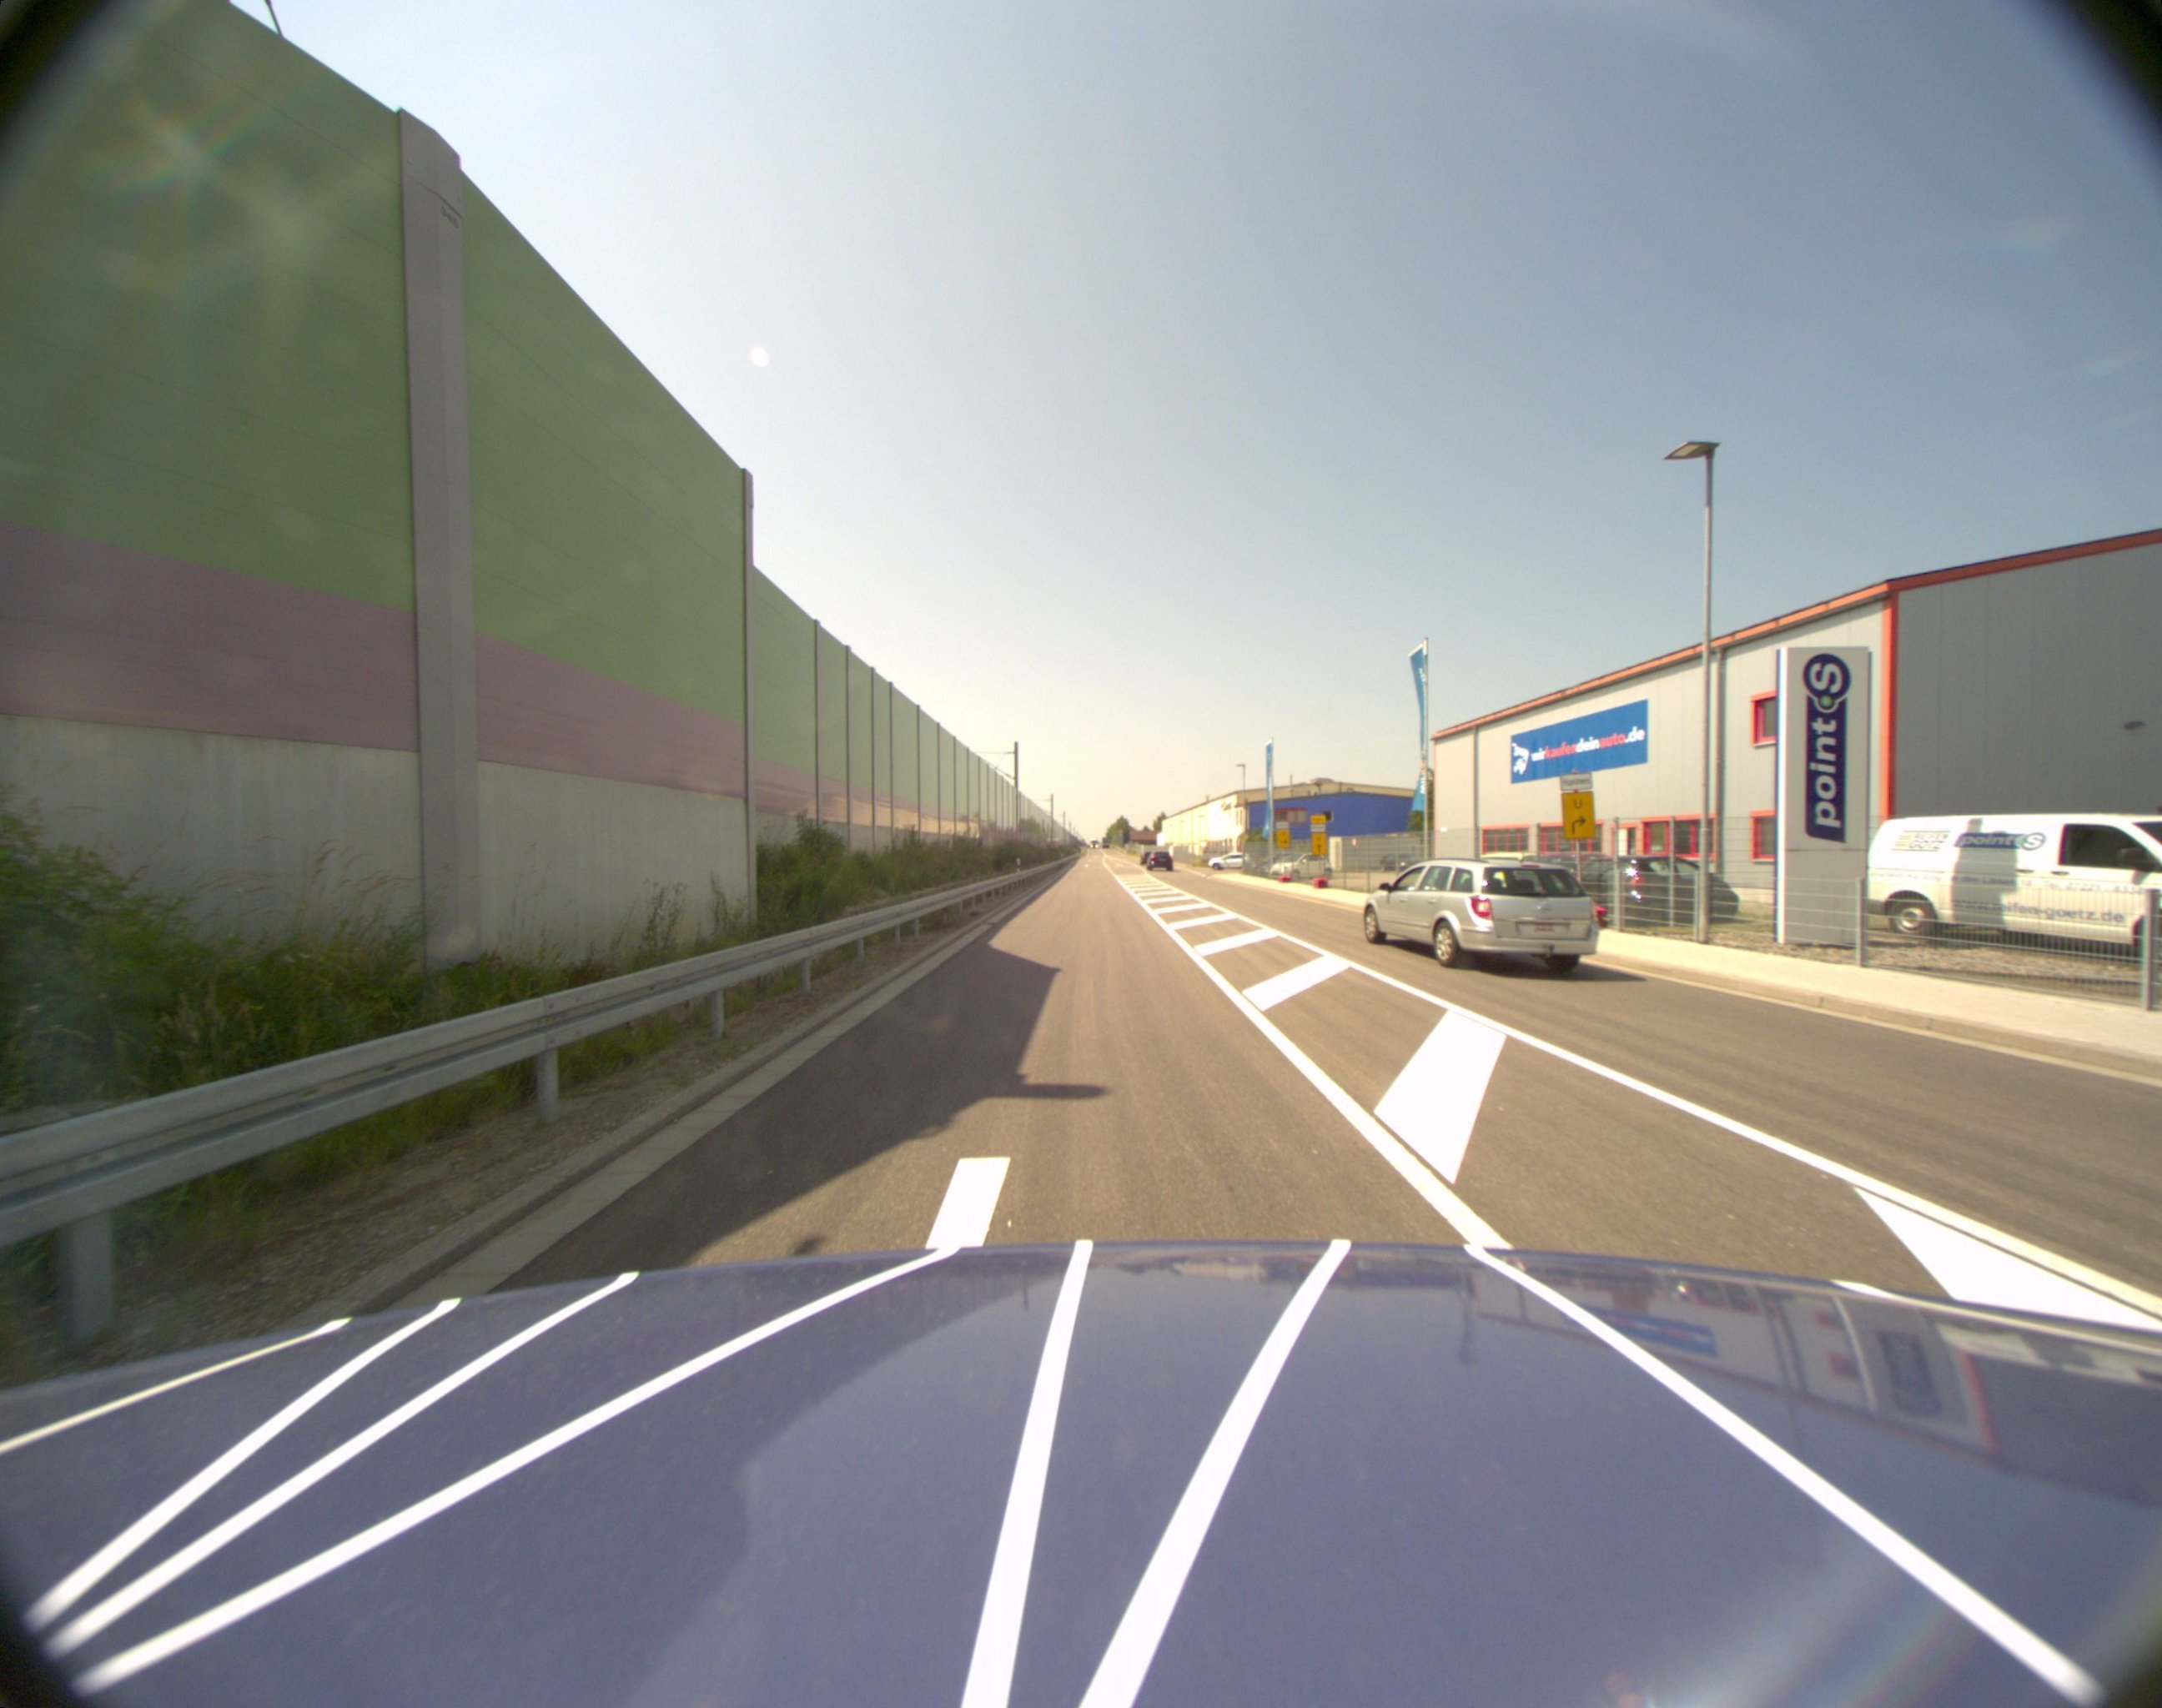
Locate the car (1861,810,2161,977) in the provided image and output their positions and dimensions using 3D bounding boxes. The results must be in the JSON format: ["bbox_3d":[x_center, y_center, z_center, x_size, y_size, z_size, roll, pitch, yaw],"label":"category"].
[{"bbox_3d":[14.055,0.454,10.397,1.998,2.002,4.680,0,1,2],"label":"car"}]

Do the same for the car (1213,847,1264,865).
[{"bbox_3d":[13.780,0.160,66.466,4.152,1.493,1.778,0,0,24],"label":"car"}]

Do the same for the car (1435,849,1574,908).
[{"bbox_3d":[11.878,0.621,21.218,4.101,1.485,1.739,-1,1,-34],"label":"car"}]

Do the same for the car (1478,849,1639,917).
[{"bbox_3d":[11.696,0.633,18.561,4.007,1.485,1.739,-1,1,-32],"label":"car"}]

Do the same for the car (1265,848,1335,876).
[{"bbox_3d":[12.084,0.420,41.921,3.491,1.456,1.587,-1,1,-24],"label":"car"}]

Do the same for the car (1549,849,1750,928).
[{"bbox_3d":[12.191,0.664,16.274,4.005,1.485,1.740,-1,1,-25],"label":"car"}]

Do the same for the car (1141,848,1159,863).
[{"bbox_3d":[7.642,0.186,84.272,1.746,1.584,3.796,1,1,1],"label":"car"}]

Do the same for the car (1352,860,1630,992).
[{"bbox_3d":[5.609,0.870,11.128,1.768,1.457,4.259,1,0,0],"label":"car"}]

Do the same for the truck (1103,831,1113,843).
[{"bbox_3d":[9.177,-5.819,259.098,3.563,3.855,11.416,0,0,2],"label":"truck"}]

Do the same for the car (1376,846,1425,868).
[{"bbox_3d":[22.451,0.218,53.543,1.774,1.493,4.000,0,0,0],"label":"car"}]

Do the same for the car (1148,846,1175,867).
[{"bbox_3d":[6.603,0.212,62.559,1.885,1.607,4.523,2,1,3],"label":"car"}]
